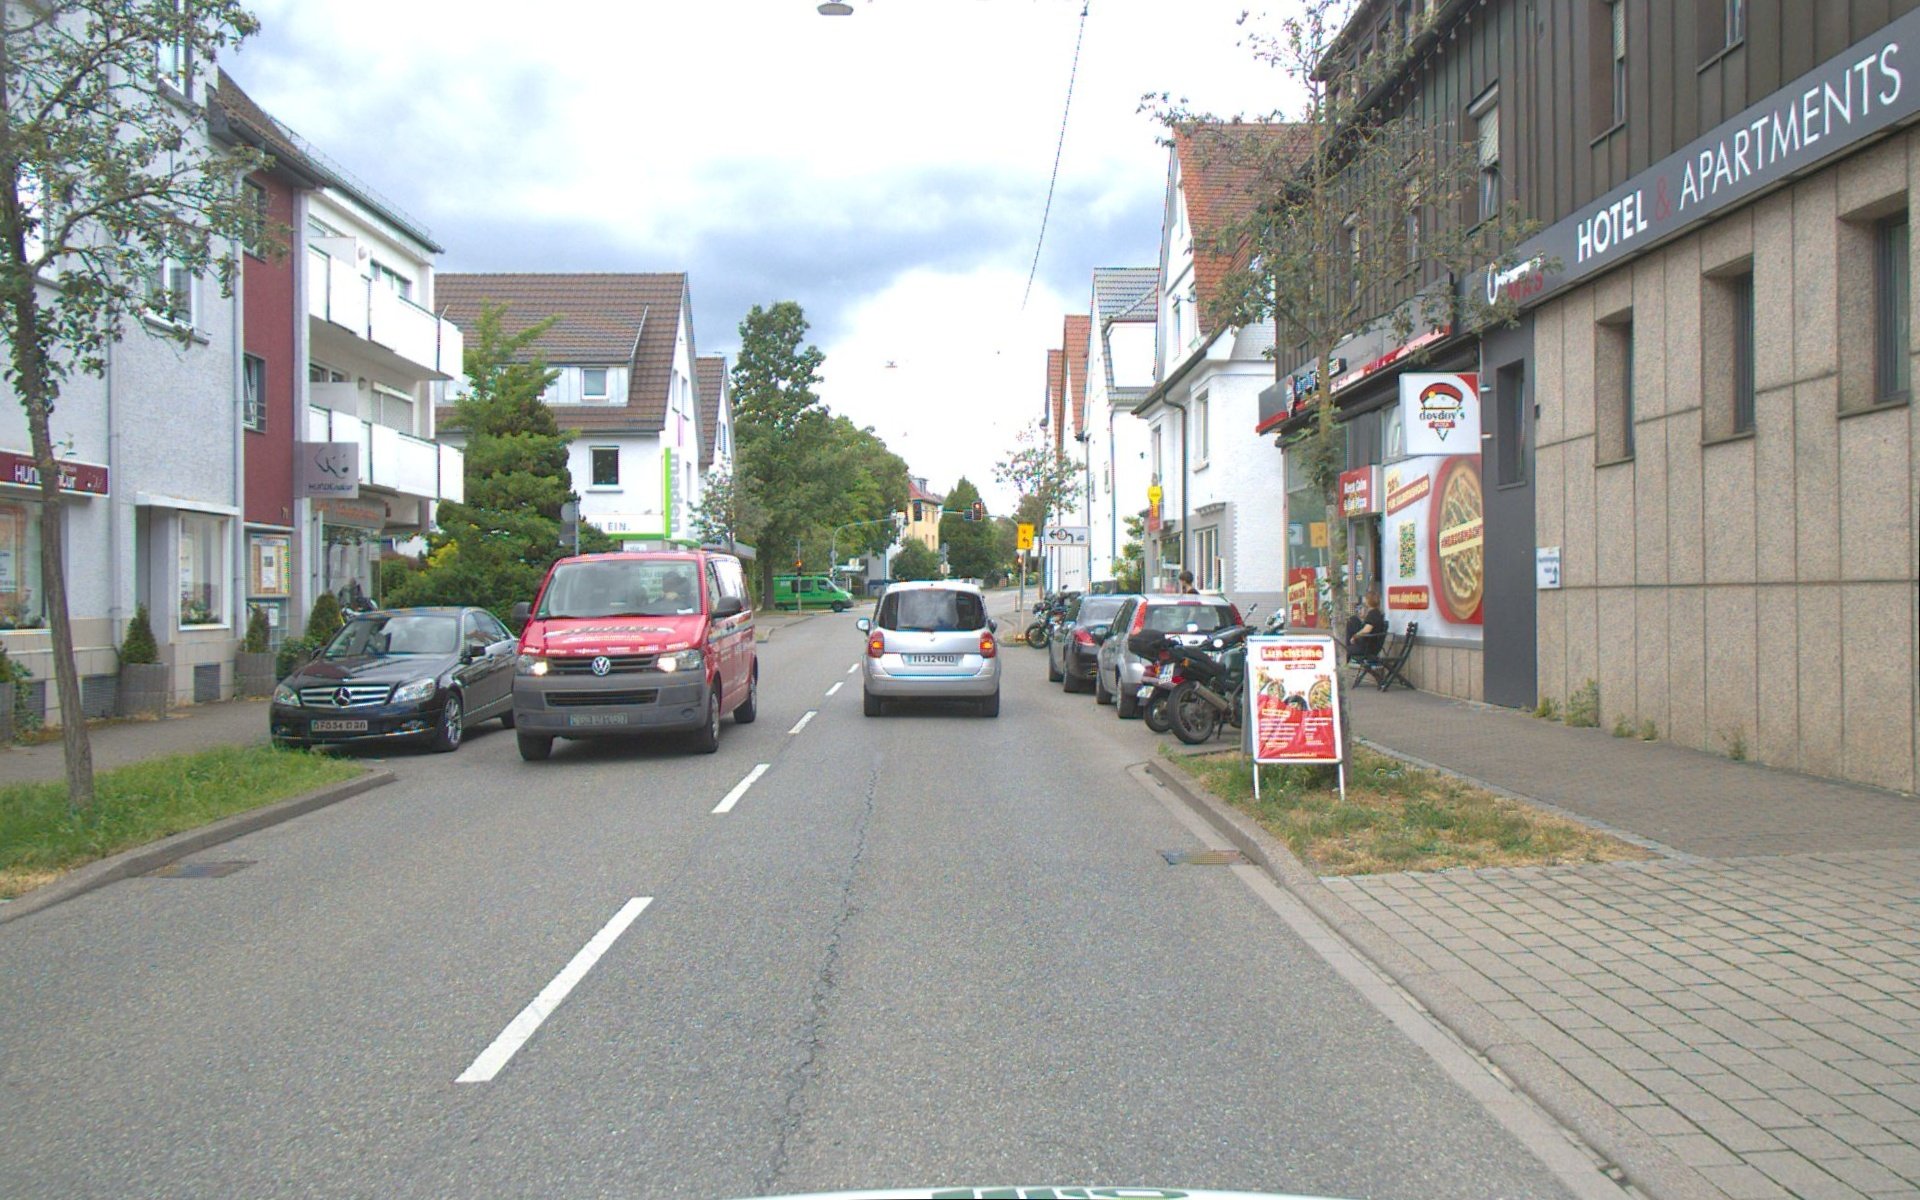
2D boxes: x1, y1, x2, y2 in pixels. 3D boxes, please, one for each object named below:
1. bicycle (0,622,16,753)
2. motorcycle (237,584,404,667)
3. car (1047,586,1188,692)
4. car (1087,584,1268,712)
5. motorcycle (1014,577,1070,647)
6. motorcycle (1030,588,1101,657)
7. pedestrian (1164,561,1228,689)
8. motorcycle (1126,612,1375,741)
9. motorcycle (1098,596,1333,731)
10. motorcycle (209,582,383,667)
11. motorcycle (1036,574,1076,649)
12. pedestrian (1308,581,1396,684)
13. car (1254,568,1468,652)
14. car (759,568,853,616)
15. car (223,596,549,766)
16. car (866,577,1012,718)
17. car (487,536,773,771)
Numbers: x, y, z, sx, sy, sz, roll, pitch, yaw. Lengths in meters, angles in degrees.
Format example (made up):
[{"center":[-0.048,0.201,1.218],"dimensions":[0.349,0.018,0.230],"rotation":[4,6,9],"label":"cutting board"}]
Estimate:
[{"center":[-8.862,0.792,14.314],"dimensions":[0.504,1.174,1.665],"rotation":[0,0,-4],"label":"bicycle"},{"center":[-11.276,0.446,29.245],"dimensions":[2.658,1.434,0.698],"rotation":[0,0,-11],"label":"motorcycle"},{"center":[2.352,0.547,25.649],"dimensions":[1.666,1.492,4.237],"rotation":[1,0,-2],"label":"car"},{"center":[2.638,0.544,20.844],"dimensions":[1.666,1.454,3.889],"rotation":[1,0,-2],"label":"car"},{"center":[1.993,0.284,40.646],"dimensions":[0.686,1.667,2.400],"rotation":[1,0,-14],"label":"motorcycle"},{"center":[2.319,0.468,36.084],"dimensions":[0.684,1.434,2.715],"rotation":[0,0,23],"label":"motorcycle"},{"center":[3.662,0.381,25.753],"dimensions":[0.839,1.961,0.899],"rotation":[0,0,-1],"label":"pedestrian"},{"center":[2.957,0.734,16.657],"dimensions":[2.701,1.204,0.692],"rotation":[0,0,-32],"label":"motorcycle"},{"center":[2.765,0.652,17.698],"dimensions":[2.680,1.359,0.692],"rotation":[0,0,-32],"label":"motorcycle"},{"center":[-11.379,0.426,28.415],"dimensions":[2.658,1.434,0.698],"rotation":[0,0,-11],"label":"motorcycle"},{"center":[2.217,0.252,38.006],"dimensions":[0.683,1.667,2.411],"rotation":[0,0,8],"label":"motorcycle"},{"center":[5.357,0.434,22.654],"dimensions":[0.870,1.322,0.966],"rotation":[-4,0,-1],"label":"pedestrian"},{"center":[8.032,0.187,33.374],"dimensions":[3.899,1.593,1.688],"rotation":[1,0,-1],"label":"car"},{"center":[-9.743,-0.528,104.856],"dimensions":[5.811,2.958,2.253],"rotation":[1,0,-3],"label":"car"},{"center":[-5.932,0.752,17.743],"dimensions":[1.909,1.493,4.515],"rotation":[-3,0,-1],"label":"car"},{"center":[-0.253,0.538,20.897],"dimensions":[1.648,1.593,3.993],"rotation":[1,0,-1],"label":"car"},{"center":[-3.222,0.462,17.295],"dimensions":[1.909,1.996,5.222],"rotation":[-3,0,-1],"label":"car"}]
